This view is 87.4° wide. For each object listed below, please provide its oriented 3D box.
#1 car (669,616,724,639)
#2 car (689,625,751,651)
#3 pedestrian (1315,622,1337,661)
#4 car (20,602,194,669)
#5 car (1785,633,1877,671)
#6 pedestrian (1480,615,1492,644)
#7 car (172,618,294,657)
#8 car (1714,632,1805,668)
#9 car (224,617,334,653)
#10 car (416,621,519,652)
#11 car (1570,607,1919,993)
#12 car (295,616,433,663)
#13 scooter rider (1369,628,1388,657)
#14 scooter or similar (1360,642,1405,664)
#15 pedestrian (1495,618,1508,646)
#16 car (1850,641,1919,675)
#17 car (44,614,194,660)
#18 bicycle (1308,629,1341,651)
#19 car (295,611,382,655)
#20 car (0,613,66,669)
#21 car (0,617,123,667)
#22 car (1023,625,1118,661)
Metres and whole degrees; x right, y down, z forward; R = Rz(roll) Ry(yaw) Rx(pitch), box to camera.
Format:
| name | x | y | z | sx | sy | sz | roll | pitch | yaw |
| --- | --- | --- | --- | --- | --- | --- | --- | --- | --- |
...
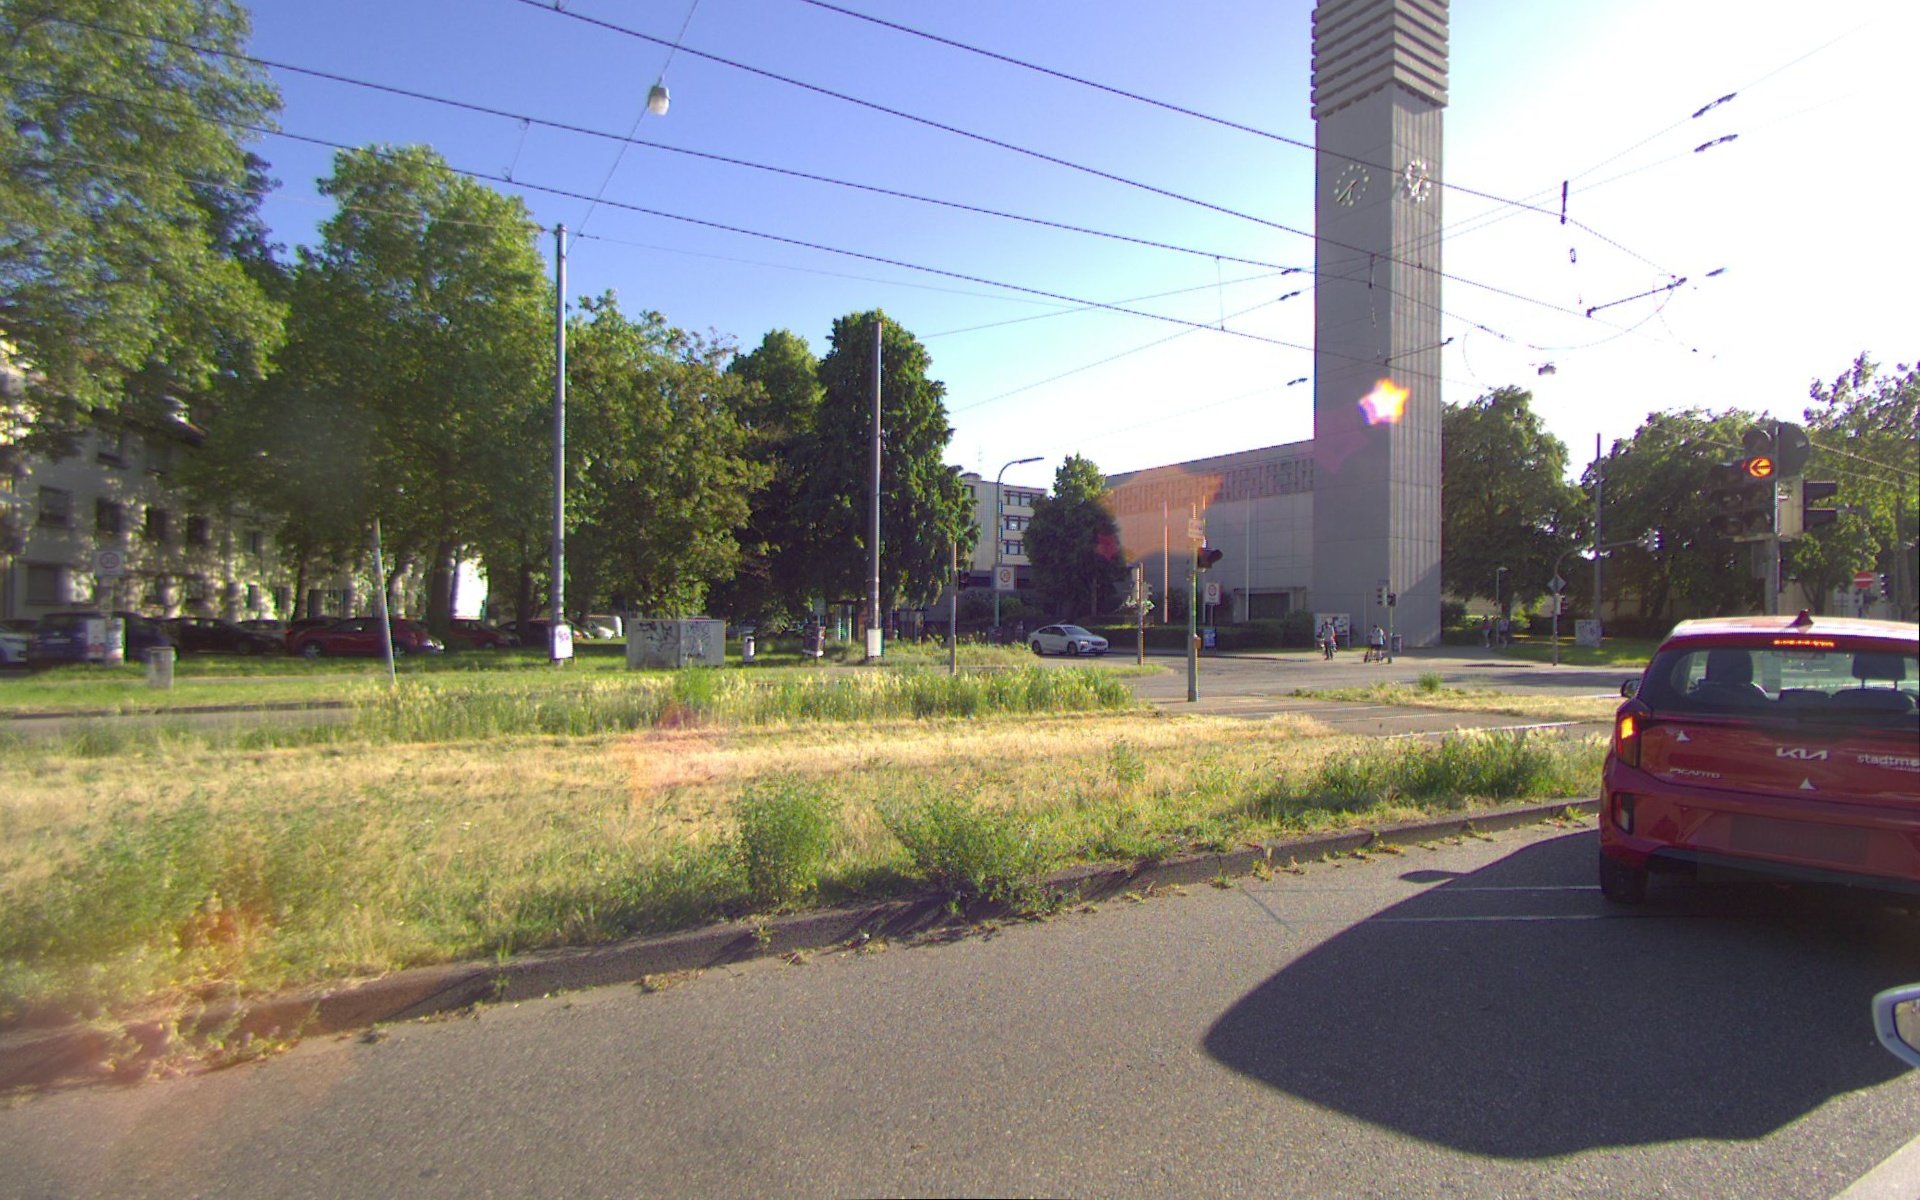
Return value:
| name | x | y | z | sx | sy | sz | roll | pitch | yaw |
| --- | --- | --- | --- | --- | --- | --- | --- | --- | --- |
| car | -20.894 | 2.167 | 79.736 | 3.953 | 1.795 | 1.659 | 1 | -1 | -30 |
| car | -16.865 | 2.655 | 70.681 | 3.953 | 1.795 | 1.659 | 1 | -1 | -30 |
| pedestrian | 16.271 | 1.835 | 44.668 | 0.735 | 1.689 | 0.442 | 1 | 1 | -21 |
| car | -22.153 | 0.902 | 26.299 | 1.719 | 1.622 | 3.992 | 0 | -1 | -11 |
| car | 37.264 | 2.188 | 42.950 | 4.310 | 1.553 | 1.679 | 1 | -1 | -30 |
| pedestrian | 29.151 | 1.620 | 55.673 | 0.302 | 1.581 | 0.433 | 1 | 1 | -34 |
| car | -33.536 | 1.750 | 46.445 | 3.989 | 1.686 | 1.997 | 2 | -2 | -10 |
| car | 36.033 | 2.233 | 45.235 | 4.310 | 1.553 | 1.798 | 1 | -1 | -30 |
| car | -33.912 | 1.761 | 50.121 | 3.989 | 1.686 | 1.997 | 2 | -2 | -10 |
| car | -22.338 | 1.636 | 45.648 | 3.932 | 1.400 | 1.581 | 0 | -1 | -14 |
| car | 4.773 | 0.837 | 5.724 | 1.674 | 1.528 | 3.682 | 2 | 1 | 40 |
| car | -19.748 | 1.316 | 33.425 | 3.585 | 1.399 | 1.641 | 2 | 1 | -13 |
| scooter rider | 17.964 | 1.820 | 43.112 | 0.584 | 1.234 | 0.520 | 1 | 2 | -45 |
| scooter or similar | 18.065 | 2.260 | 42.994 | 0.560 | 0.911 | 1.717 | 2 | -2 | -45 |
| pedestrian | 29.653 | 1.748 | 54.998 | 0.483 | 1.527 | 0.433 | 1 | 1 | -34 |
| car | 42.578 | 2.629 | 46.007 | 3.869 | 1.421 | 1.558 | 1 | 1 | -30 |
| car | -32.298 | 1.462 | 38.710 | 3.929 | 1.635 | 1.879 | 2 | -3 | -10 |
| bicycle | 18.415 | 2.043 | 50.762 | 1.659 | 1.060 | 0.490 | 1 | 1 | -23 |
| car | -25.548 | 1.327 | 41.437 | 1.719 | 1.706 | 3.992 | 0 | -1 | -11 |
| car | -30.802 | 1.243 | 31.216 | 3.989 | 1.686 | 1.997 | 2 | -2 | -10 |
| car | -31.162 | 1.417 | 33.926 | 3.929 | 1.590 | 1.879 | 2 | -3 | -10 |
| car | 5.297 | 2.030 | 48.718 | 1.980 | 1.420 | 4.671 | 1 | 1 | -35 |
